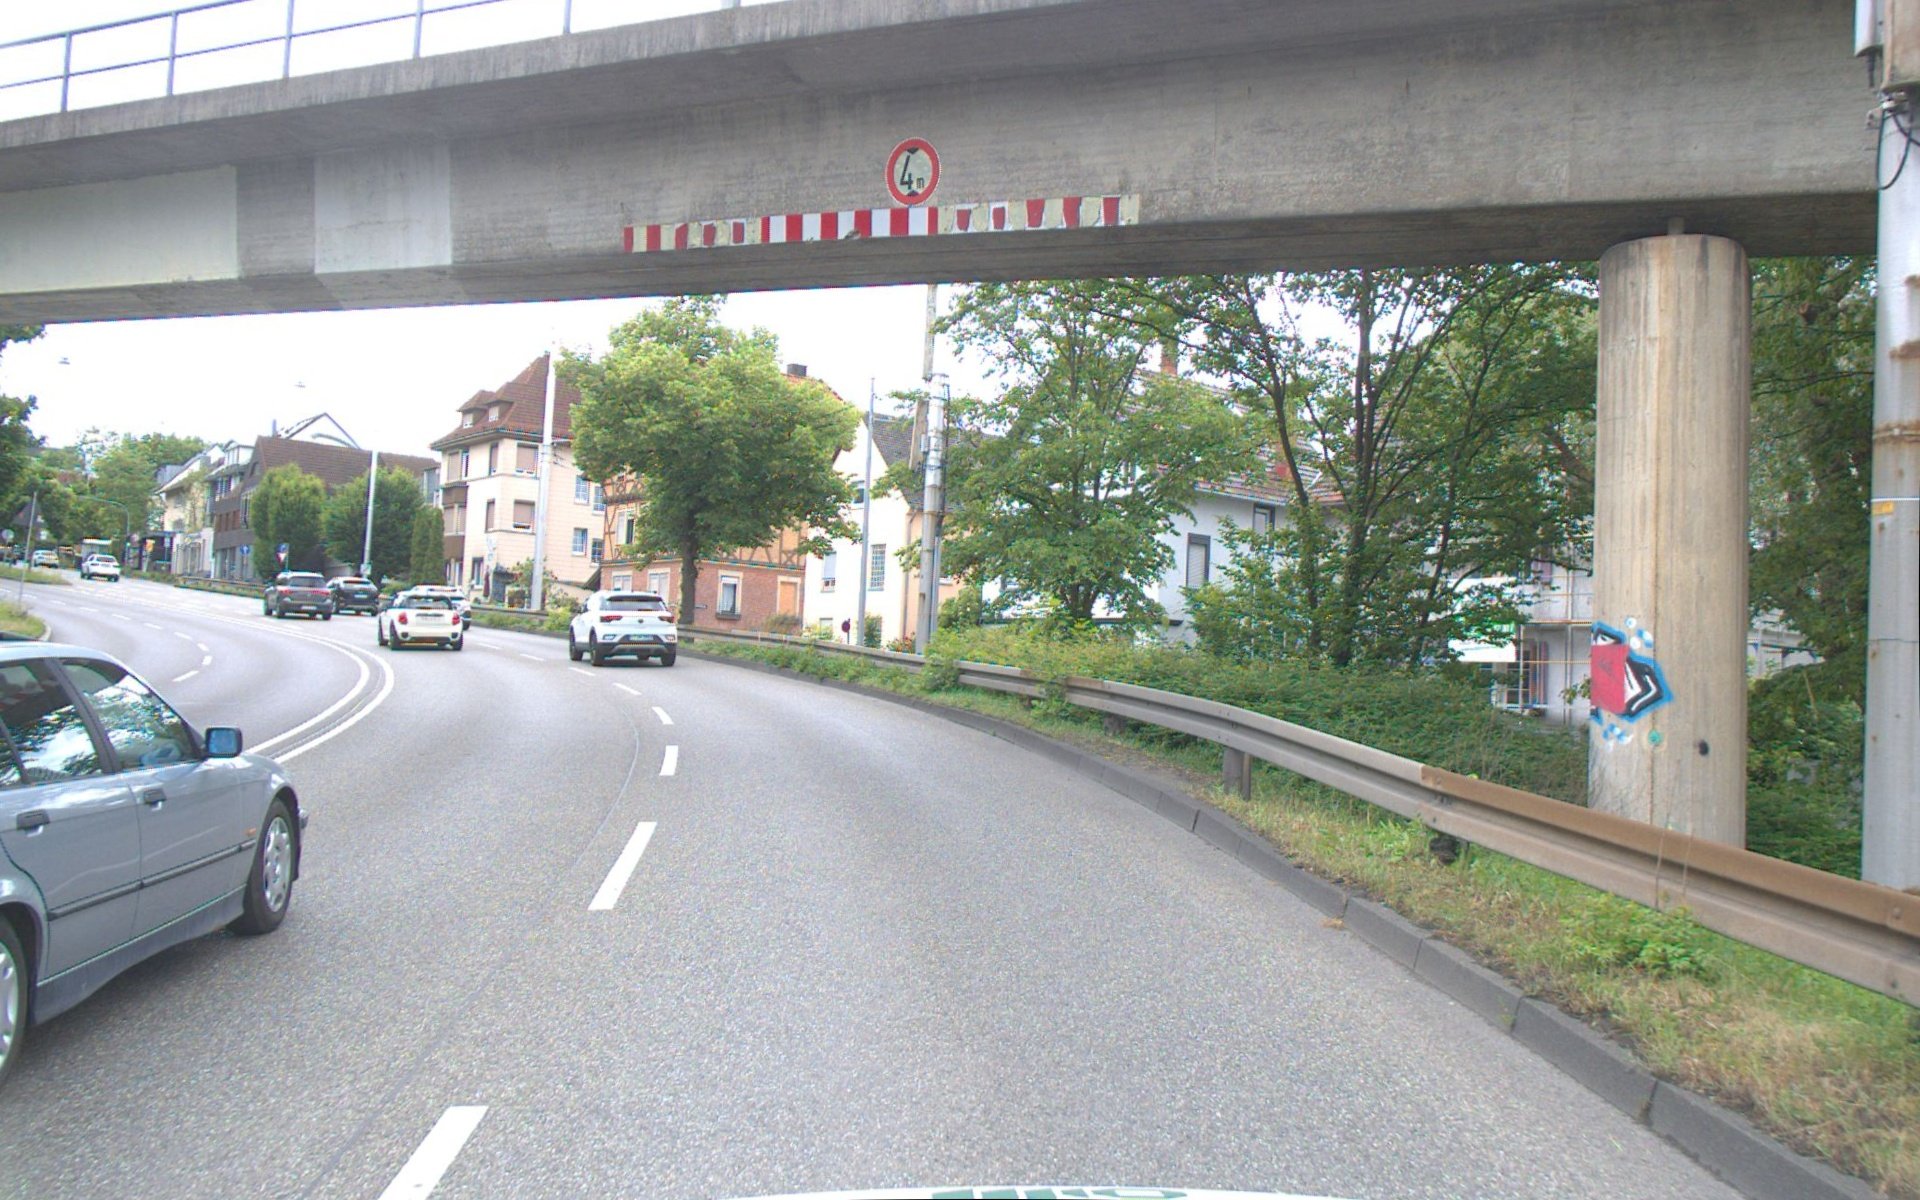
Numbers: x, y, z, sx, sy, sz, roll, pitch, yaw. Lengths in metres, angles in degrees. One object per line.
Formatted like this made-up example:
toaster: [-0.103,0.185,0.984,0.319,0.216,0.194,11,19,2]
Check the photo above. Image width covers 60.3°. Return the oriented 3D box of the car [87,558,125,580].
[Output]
car: [-56.185,-2.026,108.825,1.709,1.400,3.412,2,0,-36]

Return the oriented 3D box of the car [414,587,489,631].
car: [-17.248,0.293,56.034,1.705,1.400,3.421,2,0,-30]

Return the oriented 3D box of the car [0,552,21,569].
car: [-84.428,-3.498,146.575,1.709,1.400,3.412,2,0,-36]

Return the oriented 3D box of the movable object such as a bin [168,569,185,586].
movable object such as a bin: [-72.069,-2.088,152.170,1.186,1.432,0.702,7,-2,-36]

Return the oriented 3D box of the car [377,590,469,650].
car: [-13.573,0.495,41.719,1.702,1.400,3.426,2,0,-27]

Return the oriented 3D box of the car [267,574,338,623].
car: [-23.904,-0.069,60.072,1.707,1.668,3.416,2,0,-34]

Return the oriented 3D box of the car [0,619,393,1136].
car: [-3.529,0.794,5.868,1.601,1.407,4.617,0,0,-2]

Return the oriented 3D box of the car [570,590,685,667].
car: [-7.259,0.589,35.898,1.772,1.545,3.432,2,0,-23]

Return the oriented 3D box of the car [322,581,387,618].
car: [-24.739,-0.026,67.572,1.708,1.400,3.415,2,0,-34]

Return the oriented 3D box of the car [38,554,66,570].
car: [-80.895,-3.396,147.348,1.709,1.400,3.412,2,0,-36]

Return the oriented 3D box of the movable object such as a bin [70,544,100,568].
movable object such as a bin: [-79.494,-4.003,150.216,1.883,1.902,1.504,7,-2,-44]
